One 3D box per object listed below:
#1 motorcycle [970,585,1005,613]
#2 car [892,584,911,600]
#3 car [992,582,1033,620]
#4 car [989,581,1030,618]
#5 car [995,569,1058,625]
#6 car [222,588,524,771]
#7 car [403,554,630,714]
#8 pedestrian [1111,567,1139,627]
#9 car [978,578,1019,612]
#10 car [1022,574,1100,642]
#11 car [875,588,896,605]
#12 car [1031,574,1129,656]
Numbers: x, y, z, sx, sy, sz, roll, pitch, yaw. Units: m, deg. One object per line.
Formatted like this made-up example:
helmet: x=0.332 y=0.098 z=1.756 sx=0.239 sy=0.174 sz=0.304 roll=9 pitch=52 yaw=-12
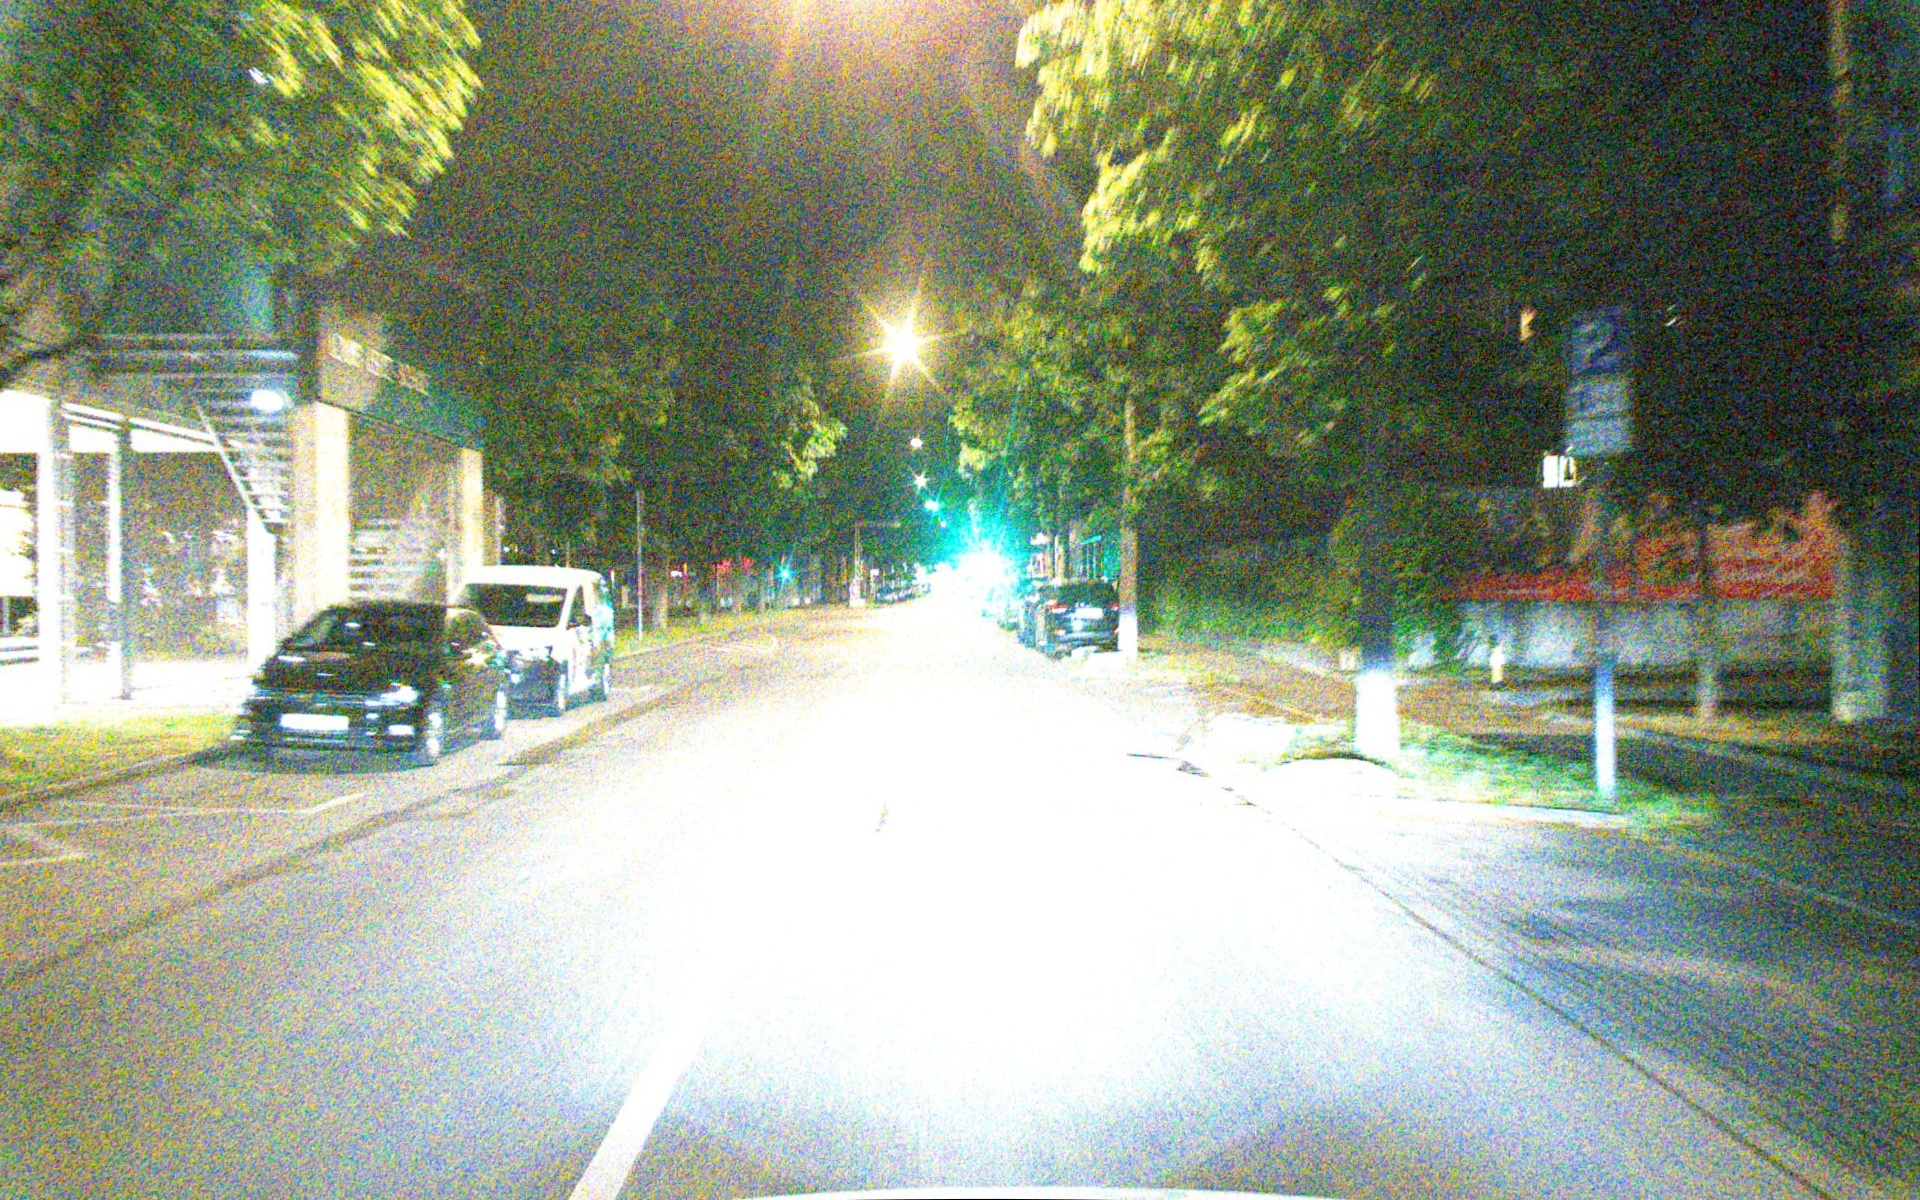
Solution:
motorcycle: x=1.288 y=-0.048 z=77.219 sx=0.625 sy=1.292 sz=2.058 roll=1 pitch=0 yaw=33
car: x=-5.637 y=-0.770 z=159.263 sx=1.705 sy=1.440 sz=3.752 roll=1 pitch=1 yaw=-1
car: x=2.039 y=0.035 z=65.184 sx=1.489 sy=1.420 sz=3.984 roll=-1 pitch=1 yaw=0
car: x=2.177 y=-0.056 z=73.873 sx=1.559 sy=1.561 sz=4.137 roll=-1 pitch=1 yaw=-1
car: x=2.248 y=-0.123 z=57.100 sx=1.736 sy=1.838 sz=4.275 roll=-1 pitch=1 yaw=-3
car: x=-5.517 y=0.667 z=16.058 sx=1.666 sy=1.458 sz=3.826 roll=3 pitch=1 yaw=-3
car: x=-5.717 y=0.381 z=21.872 sx=1.785 sy=1.843 sz=4.210 roll=2 pitch=1 yaw=0
pedestrian: x=4.849 y=-0.088 z=48.594 sx=0.691 sy=1.752 sz=0.821 roll=-1 pitch=0 yaw=-1
car: x=1.879 y=-0.270 z=81.161 sx=1.815 sy=1.618 sz=4.299 roll=0 pitch=0 yaw=-1
car: x=2.563 y=0.168 z=42.619 sx=1.815 sy=1.632 sz=4.210 roll=-1 pitch=1 yaw=1
car: x=-6.482 y=-0.290 z=144.543 sx=1.705 sy=1.440 sz=3.751 roll=1 pitch=0 yaw=-1
car: x=2.618 y=0.299 z=36.914 sx=1.815 sy=1.682 sz=4.209 roll=-1 pitch=1 yaw=0
